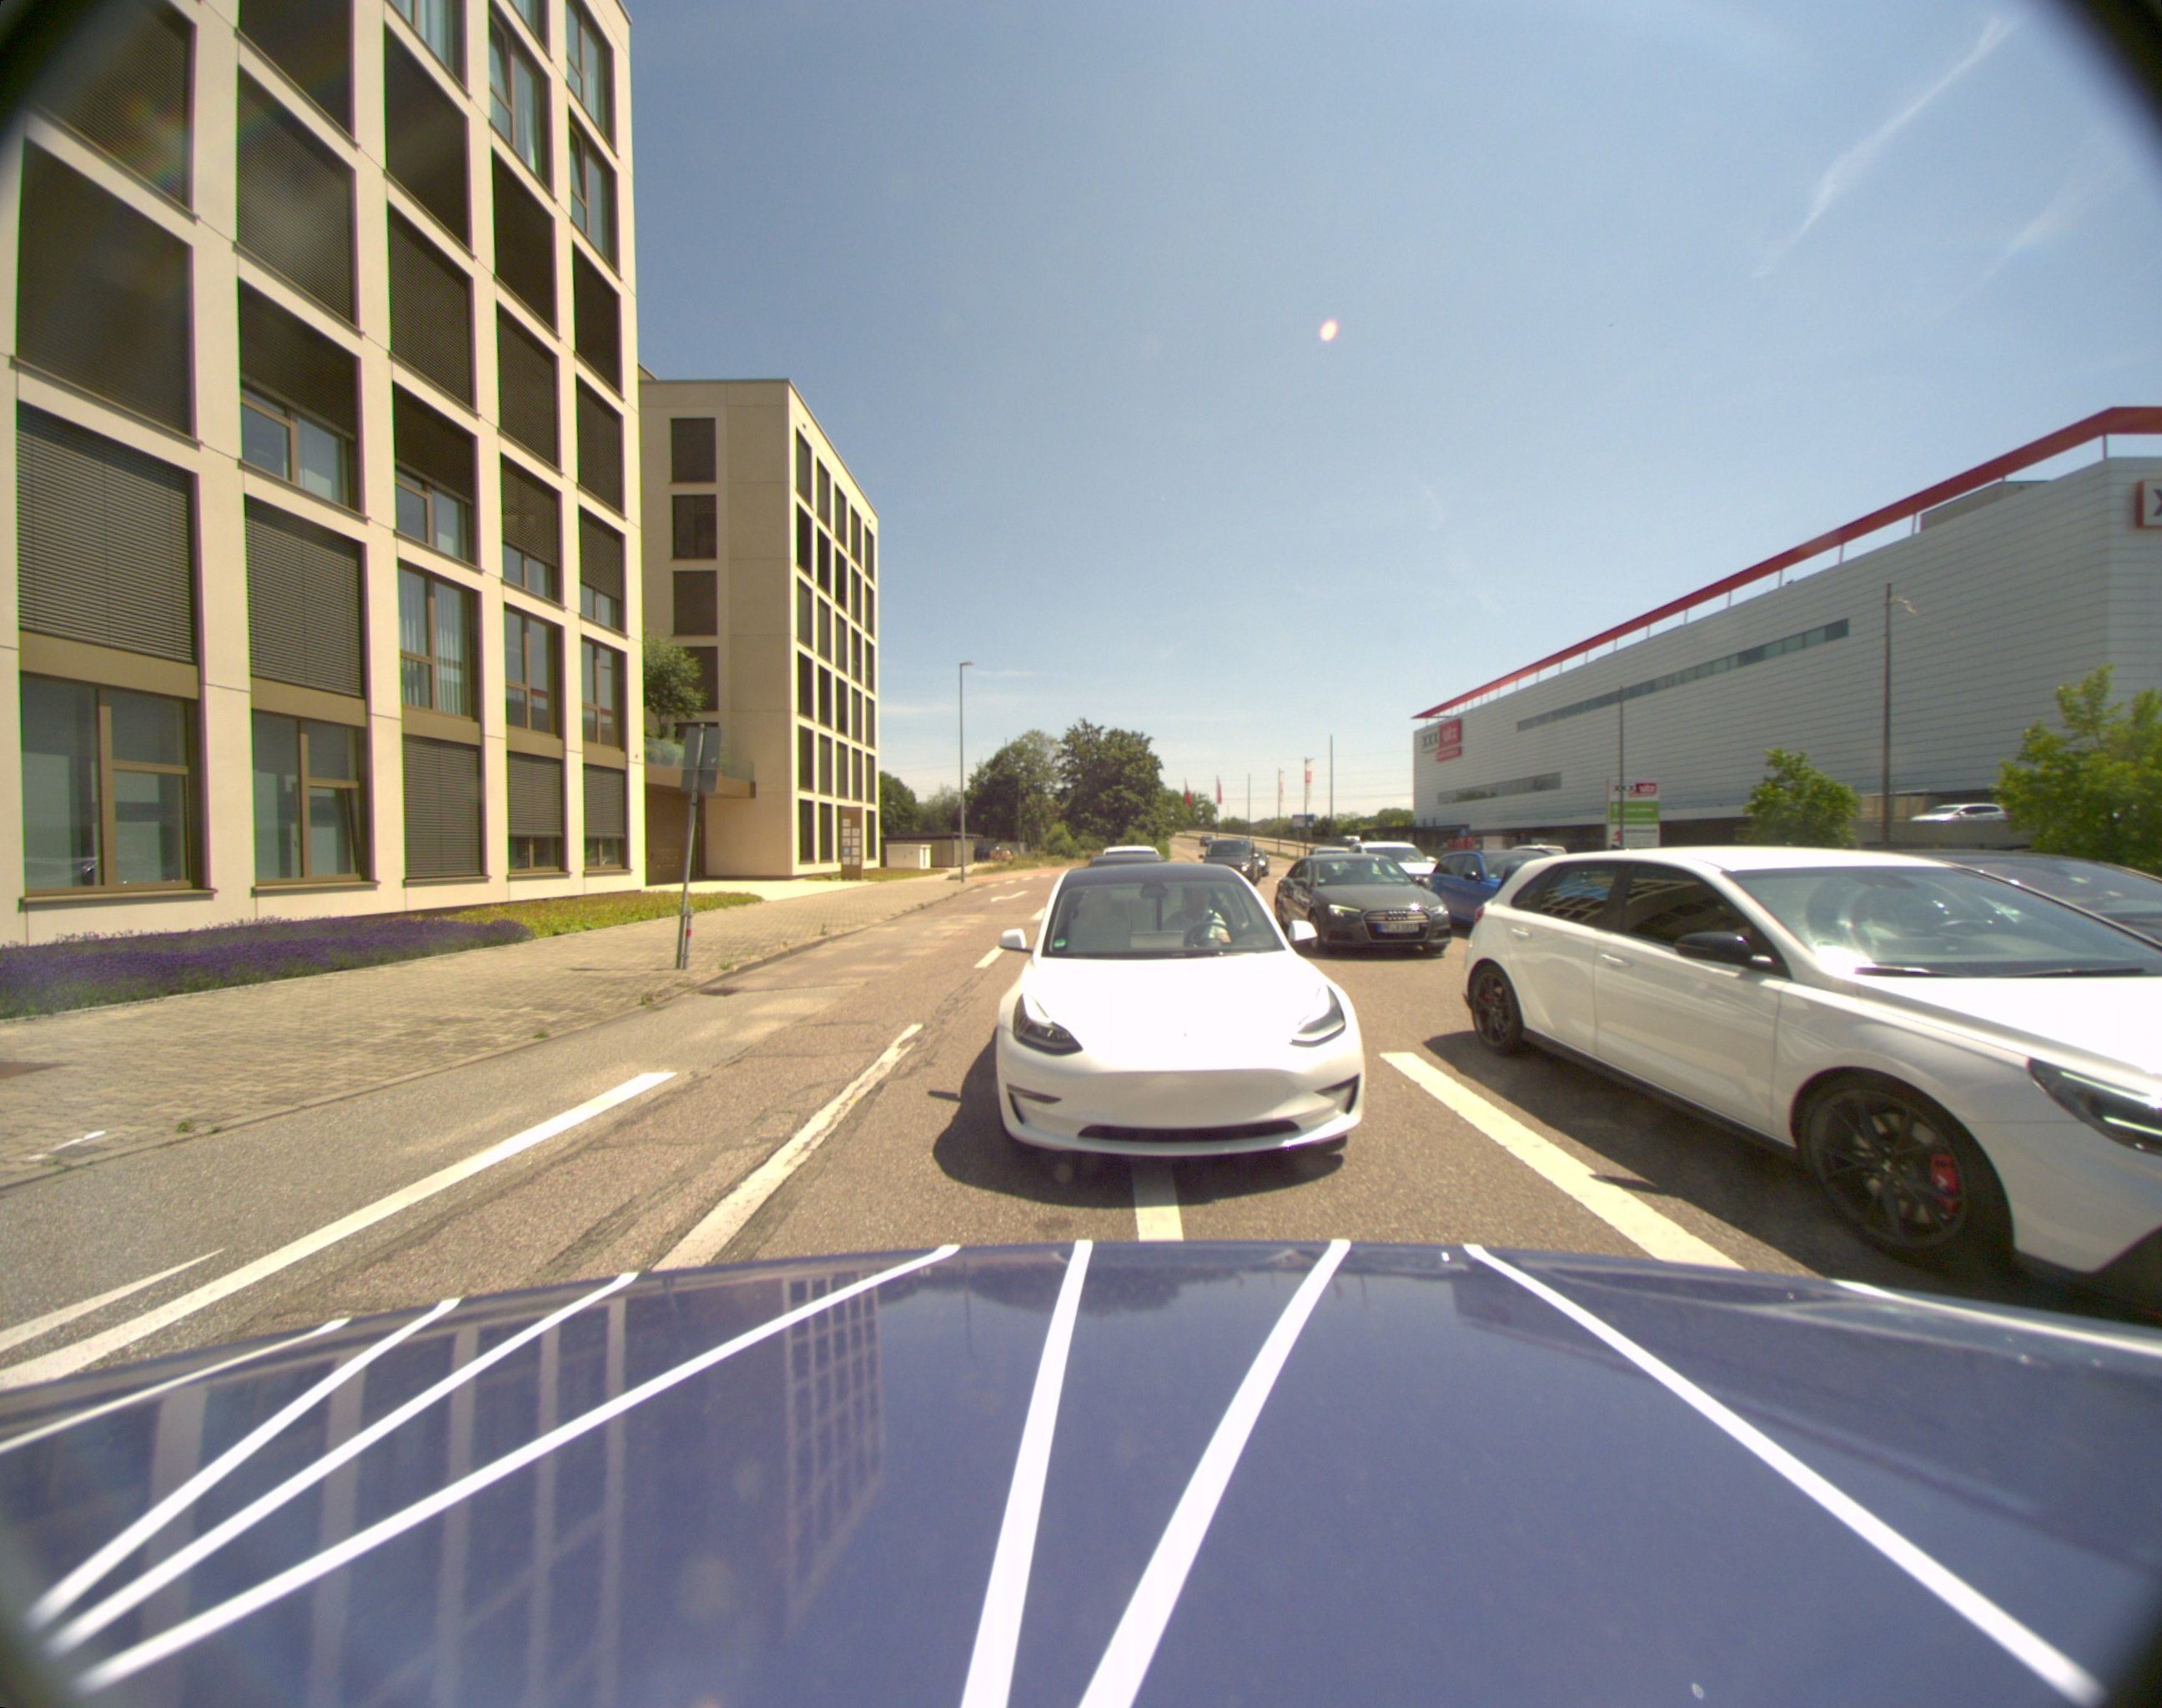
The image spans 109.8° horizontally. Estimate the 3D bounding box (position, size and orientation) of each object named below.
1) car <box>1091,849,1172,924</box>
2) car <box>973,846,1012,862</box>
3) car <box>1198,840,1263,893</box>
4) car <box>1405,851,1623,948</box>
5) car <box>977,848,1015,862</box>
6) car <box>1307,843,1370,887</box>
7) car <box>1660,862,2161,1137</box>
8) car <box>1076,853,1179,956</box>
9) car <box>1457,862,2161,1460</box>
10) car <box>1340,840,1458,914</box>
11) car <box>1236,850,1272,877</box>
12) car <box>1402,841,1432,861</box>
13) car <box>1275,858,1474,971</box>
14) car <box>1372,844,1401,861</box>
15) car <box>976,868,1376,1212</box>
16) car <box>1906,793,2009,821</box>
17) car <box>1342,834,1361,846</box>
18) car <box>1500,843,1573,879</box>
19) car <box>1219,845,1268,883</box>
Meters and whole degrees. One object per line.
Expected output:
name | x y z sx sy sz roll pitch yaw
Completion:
car | 1.268 0.709 18.736 1.777 1.600 3.821 0 1 5
car | -9.265 -0.013 79.168 3.834 1.543 1.736 0 1 -13
car | 5.721 0.384 28.636 1.893 1.811 4.842 0 1 17
car | 7.404 0.680 13.571 1.768 1.395 4.433 -2 0 7
car | -9.106 0.098 81.212 3.834 1.386 1.736 0 1 -13
car | 9.139 0.367 27.262 1.767 1.414 3.903 -2 0 14
car | 6.646 0.795 5.438 1.675 1.396 4.467 -2 0 2
car | 0.852 0.763 13.432 1.556 1.528 3.822 0 1 5
car | 3.707 0.820 3.662 1.792 1.428 4.070 -2 1 1
car | 7.982 0.503 19.511 1.768 1.632 4.494 -2 1 9
car | 9.936 0.505 43.409 1.606 1.431 3.738 0 1 19
car | 32.866 -0.269 74.399 1.817 1.893 3.731 0 1 9
car | 4.237 0.775 11.670 1.769 1.374 4.091 0 1 5
car | 30.211 -0.140 75.311 1.865 1.713 4.046 0 0 10
car | 0.475 0.918 5.705 1.823 1.428 4.284 -2 1 1
car | 51.824 -2.770 44.976 3.996 1.499 1.717 0 1 2
car | 52.105 -2.680 146.389 2.191 2.270 4.814 0 1 4
car | 22.931 0.332 38.419 1.865 1.713 4.046 0 1 11
car | 7.573 0.426 35.199 1.811 1.630 4.005 0 1 18
